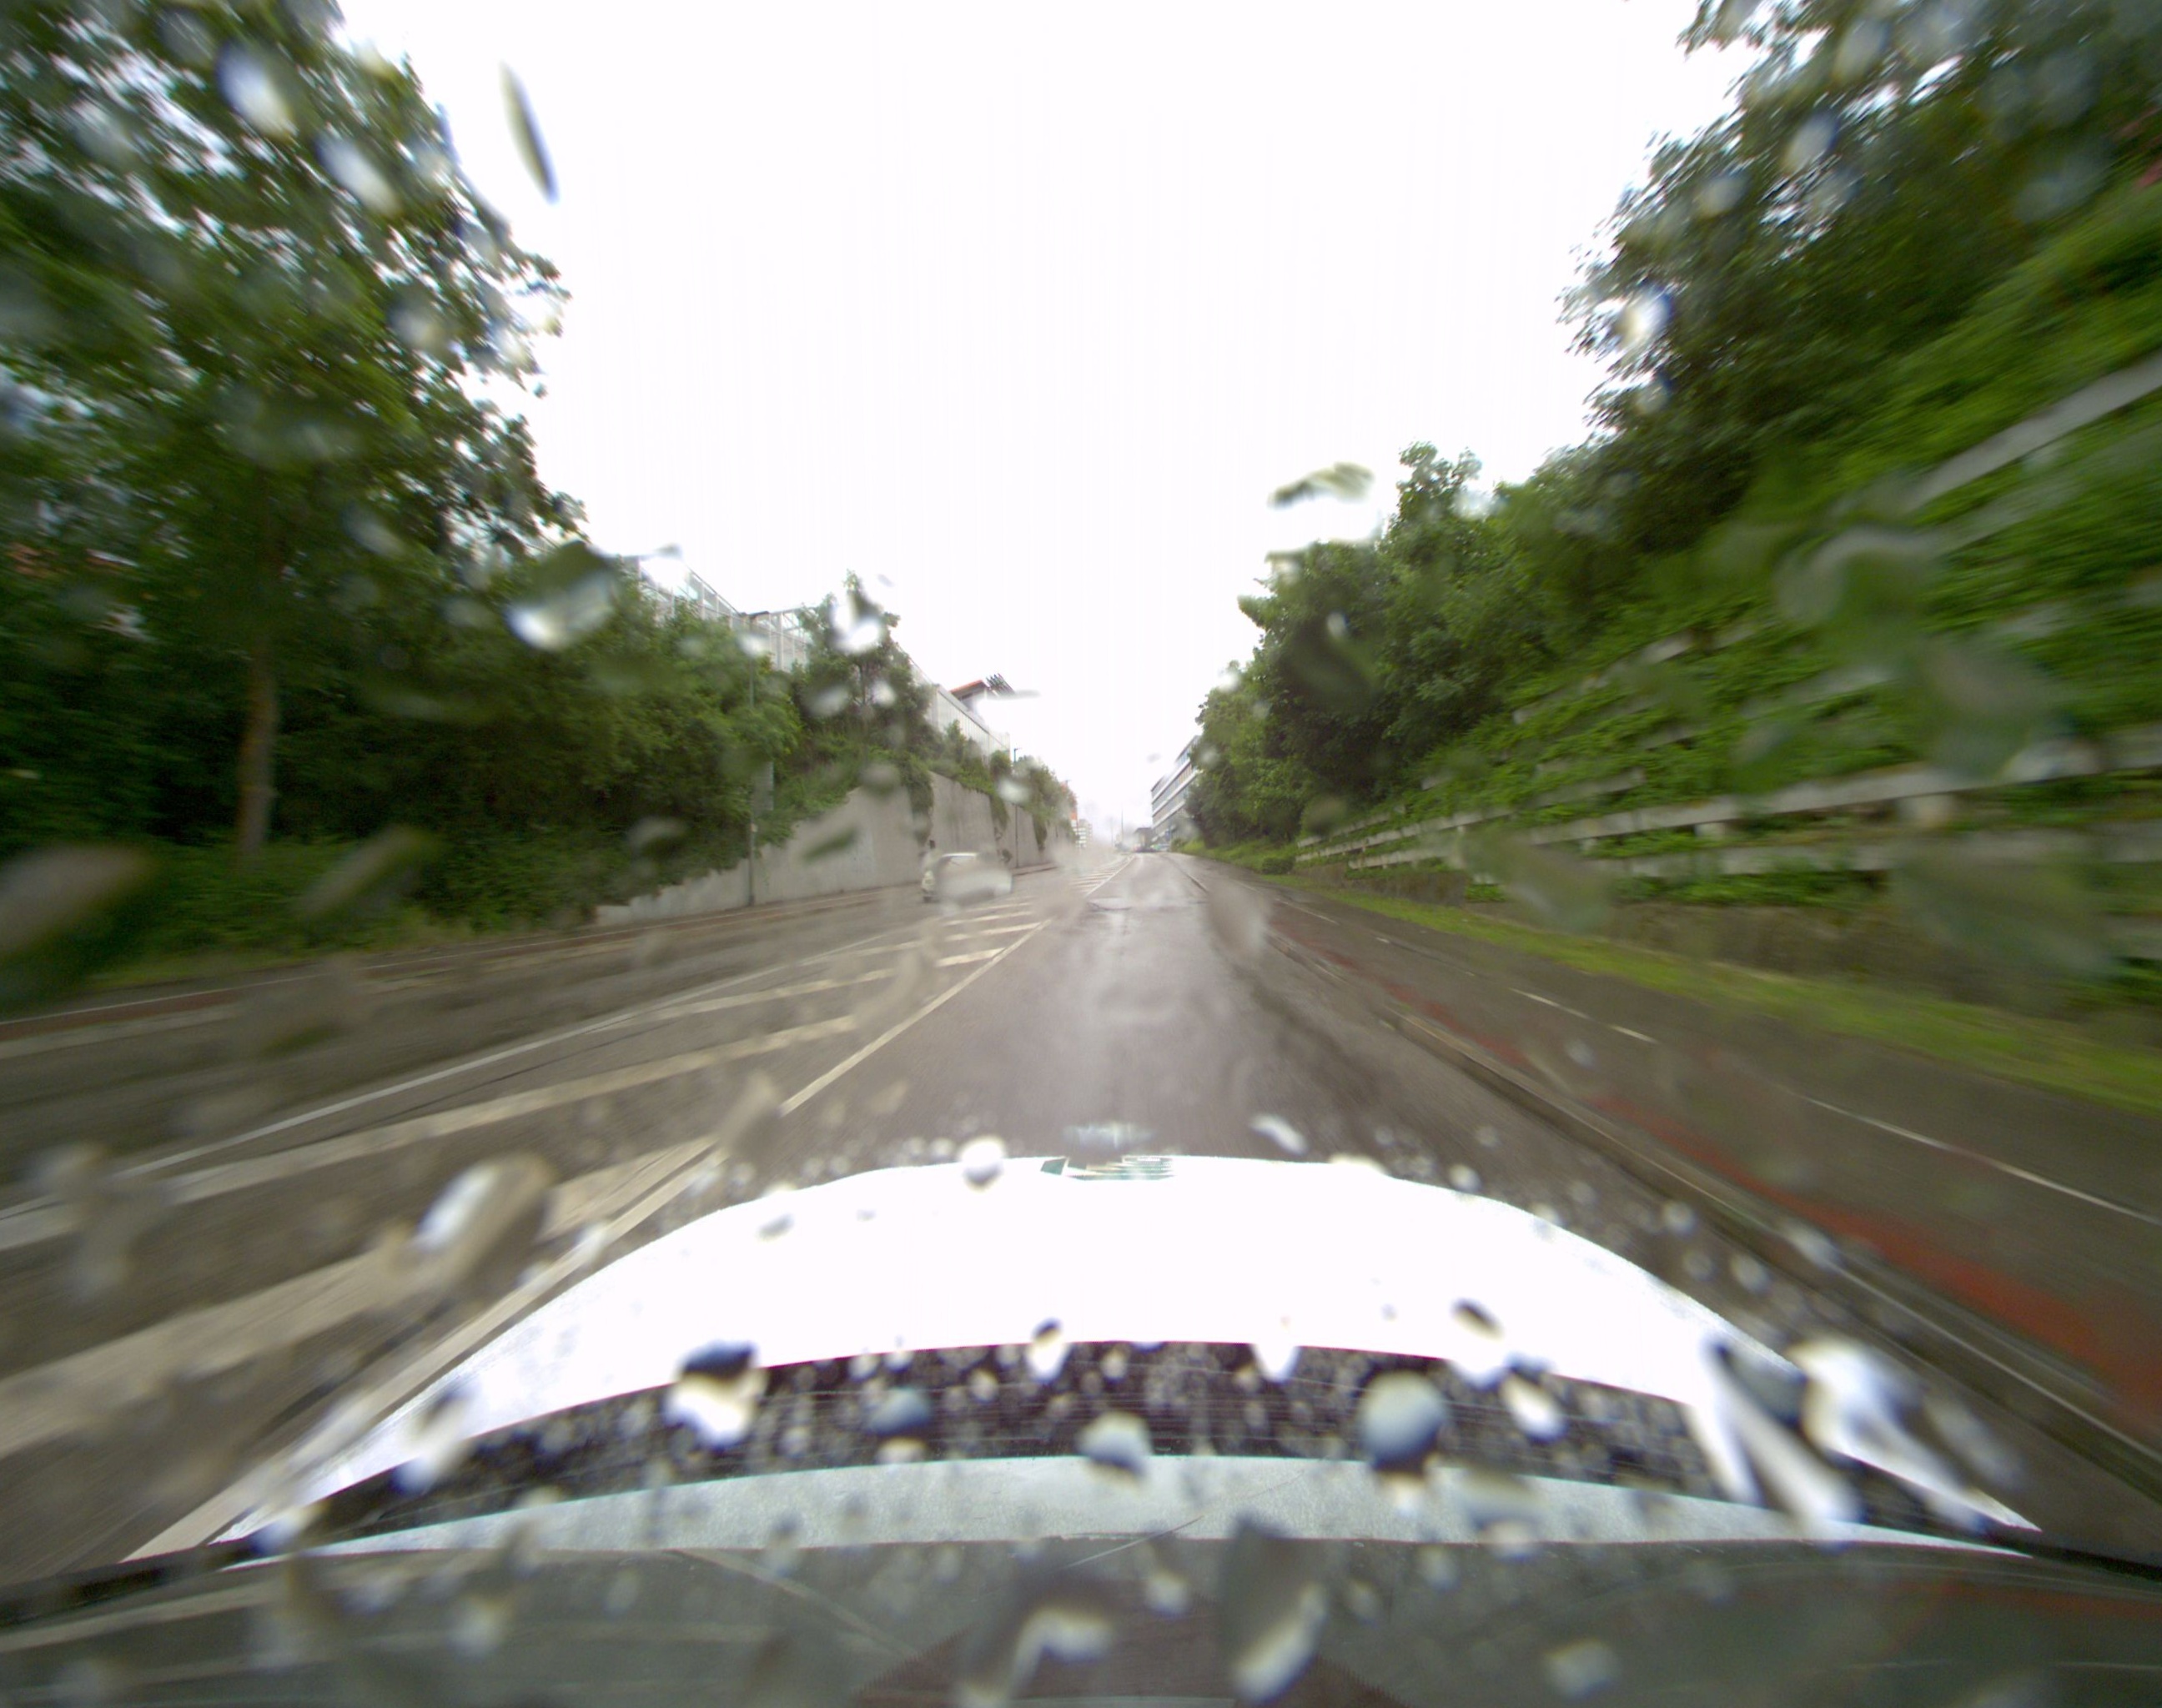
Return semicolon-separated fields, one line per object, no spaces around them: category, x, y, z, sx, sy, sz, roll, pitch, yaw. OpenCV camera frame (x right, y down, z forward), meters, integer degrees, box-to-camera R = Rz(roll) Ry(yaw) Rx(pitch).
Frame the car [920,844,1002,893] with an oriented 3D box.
car;-3.776;0.474;26.204;1.503;1.448;3.826;-1;-1;9

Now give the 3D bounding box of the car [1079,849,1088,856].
car;0.483;-0.296;151.155;1.635;1.362;4.247;0;0;-1

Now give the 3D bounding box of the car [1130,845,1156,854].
car;10.922;-0.821;143.199;4.170;1.410;1.807;-2;-3;16
